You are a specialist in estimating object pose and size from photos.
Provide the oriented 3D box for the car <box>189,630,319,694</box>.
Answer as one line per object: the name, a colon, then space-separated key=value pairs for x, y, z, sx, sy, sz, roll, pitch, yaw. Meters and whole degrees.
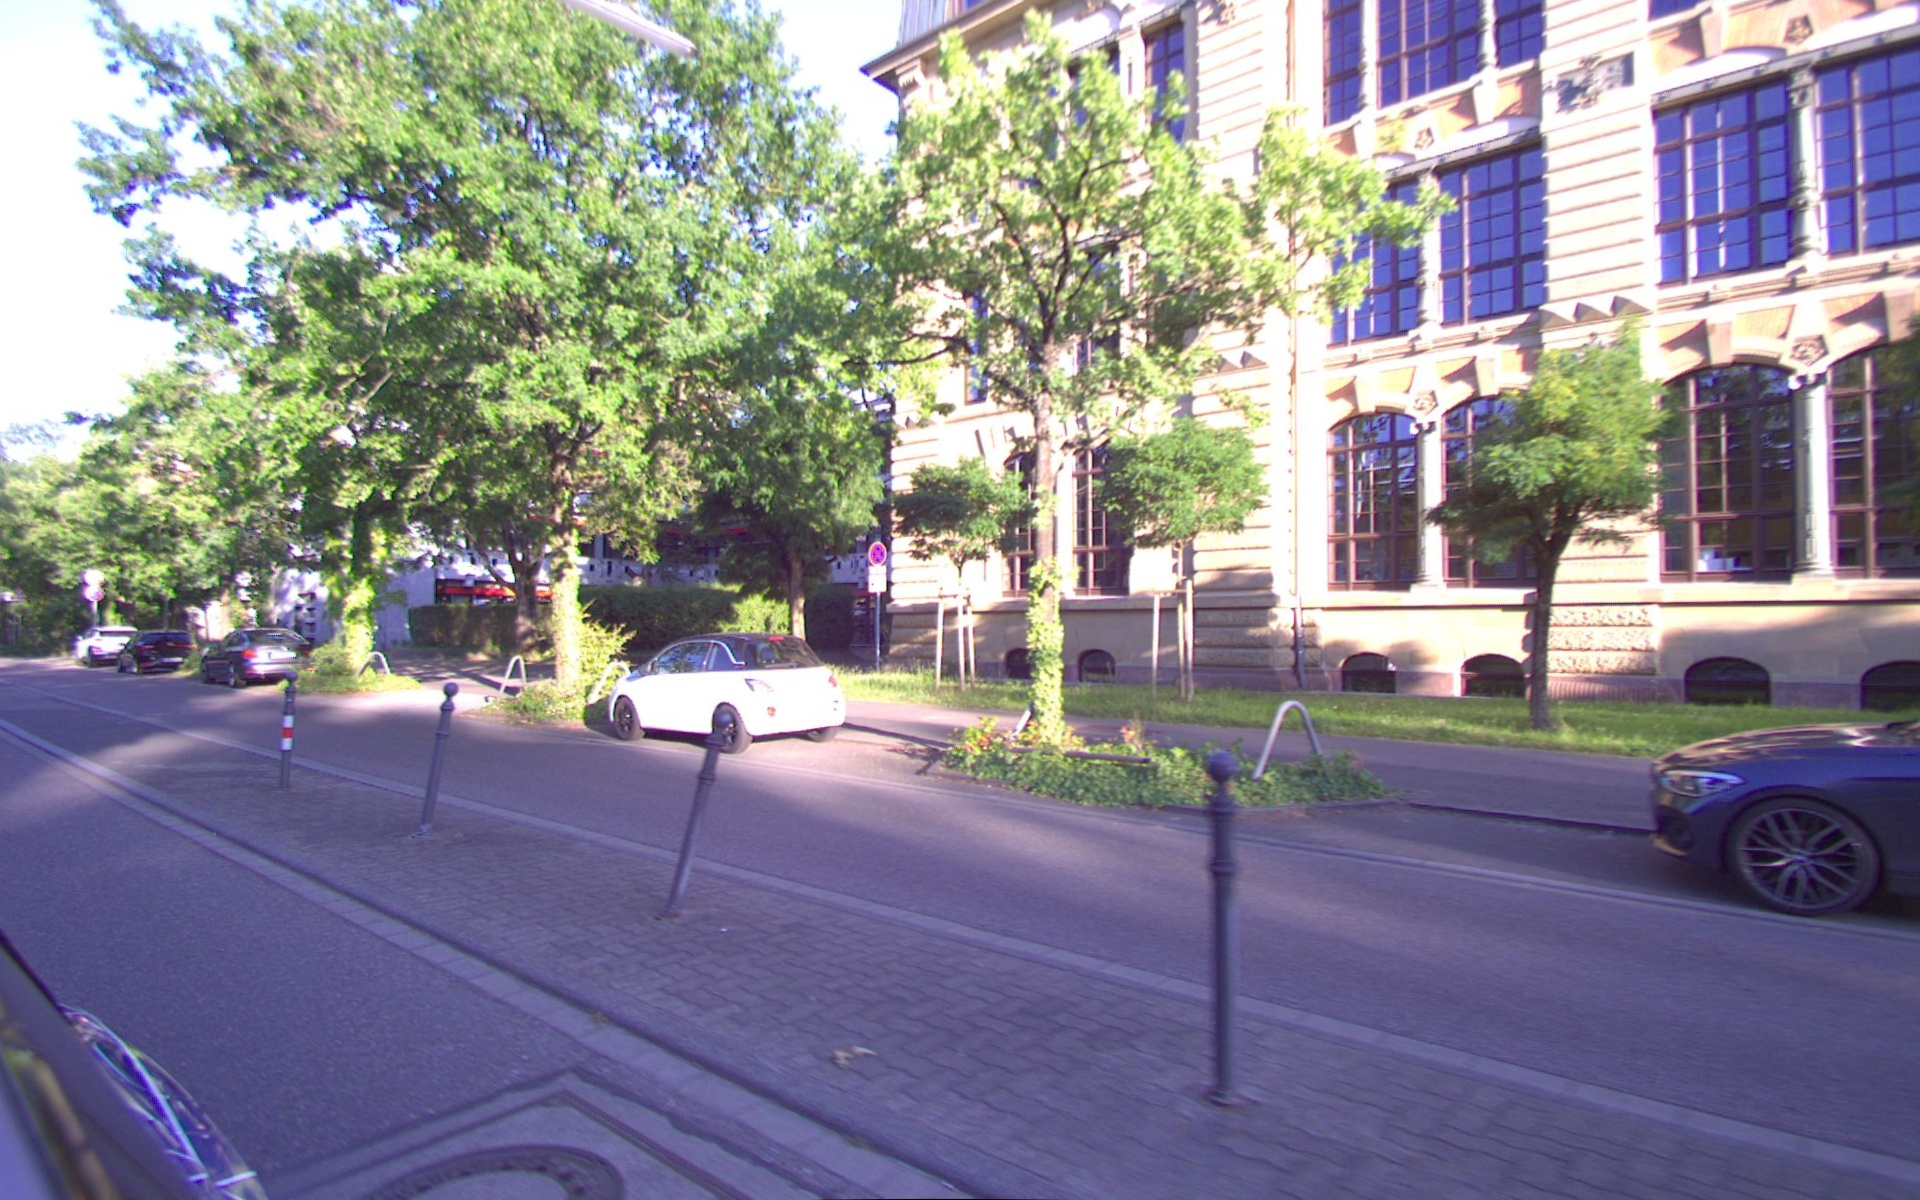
car: x=-18.924 y=1.579 z=27.049 sx=4.861 sy=1.522 sz=1.783 roll=-1 pitch=-2 yaw=42

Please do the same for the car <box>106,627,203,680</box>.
car: x=-27.065 y=1.744 z=33.967 sx=4.144 sy=1.628 sz=1.762 roll=-1 pitch=-1 yaw=40

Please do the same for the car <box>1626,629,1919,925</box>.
car: x=6.150 y=0.906 z=5.216 sx=4.374 sy=1.507 sz=1.601 roll=-2 pitch=-2 yaw=40

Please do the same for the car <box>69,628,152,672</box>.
car: x=-33.106 y=1.899 z=39.391 sx=4.144 sy=1.628 sz=1.785 roll=-1 pitch=-2 yaw=40

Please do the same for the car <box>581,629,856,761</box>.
car: x=-3.327 y=1.151 z=13.572 sx=3.921 sy=1.507 sz=1.601 roll=-2 pitch=-2 yaw=40
